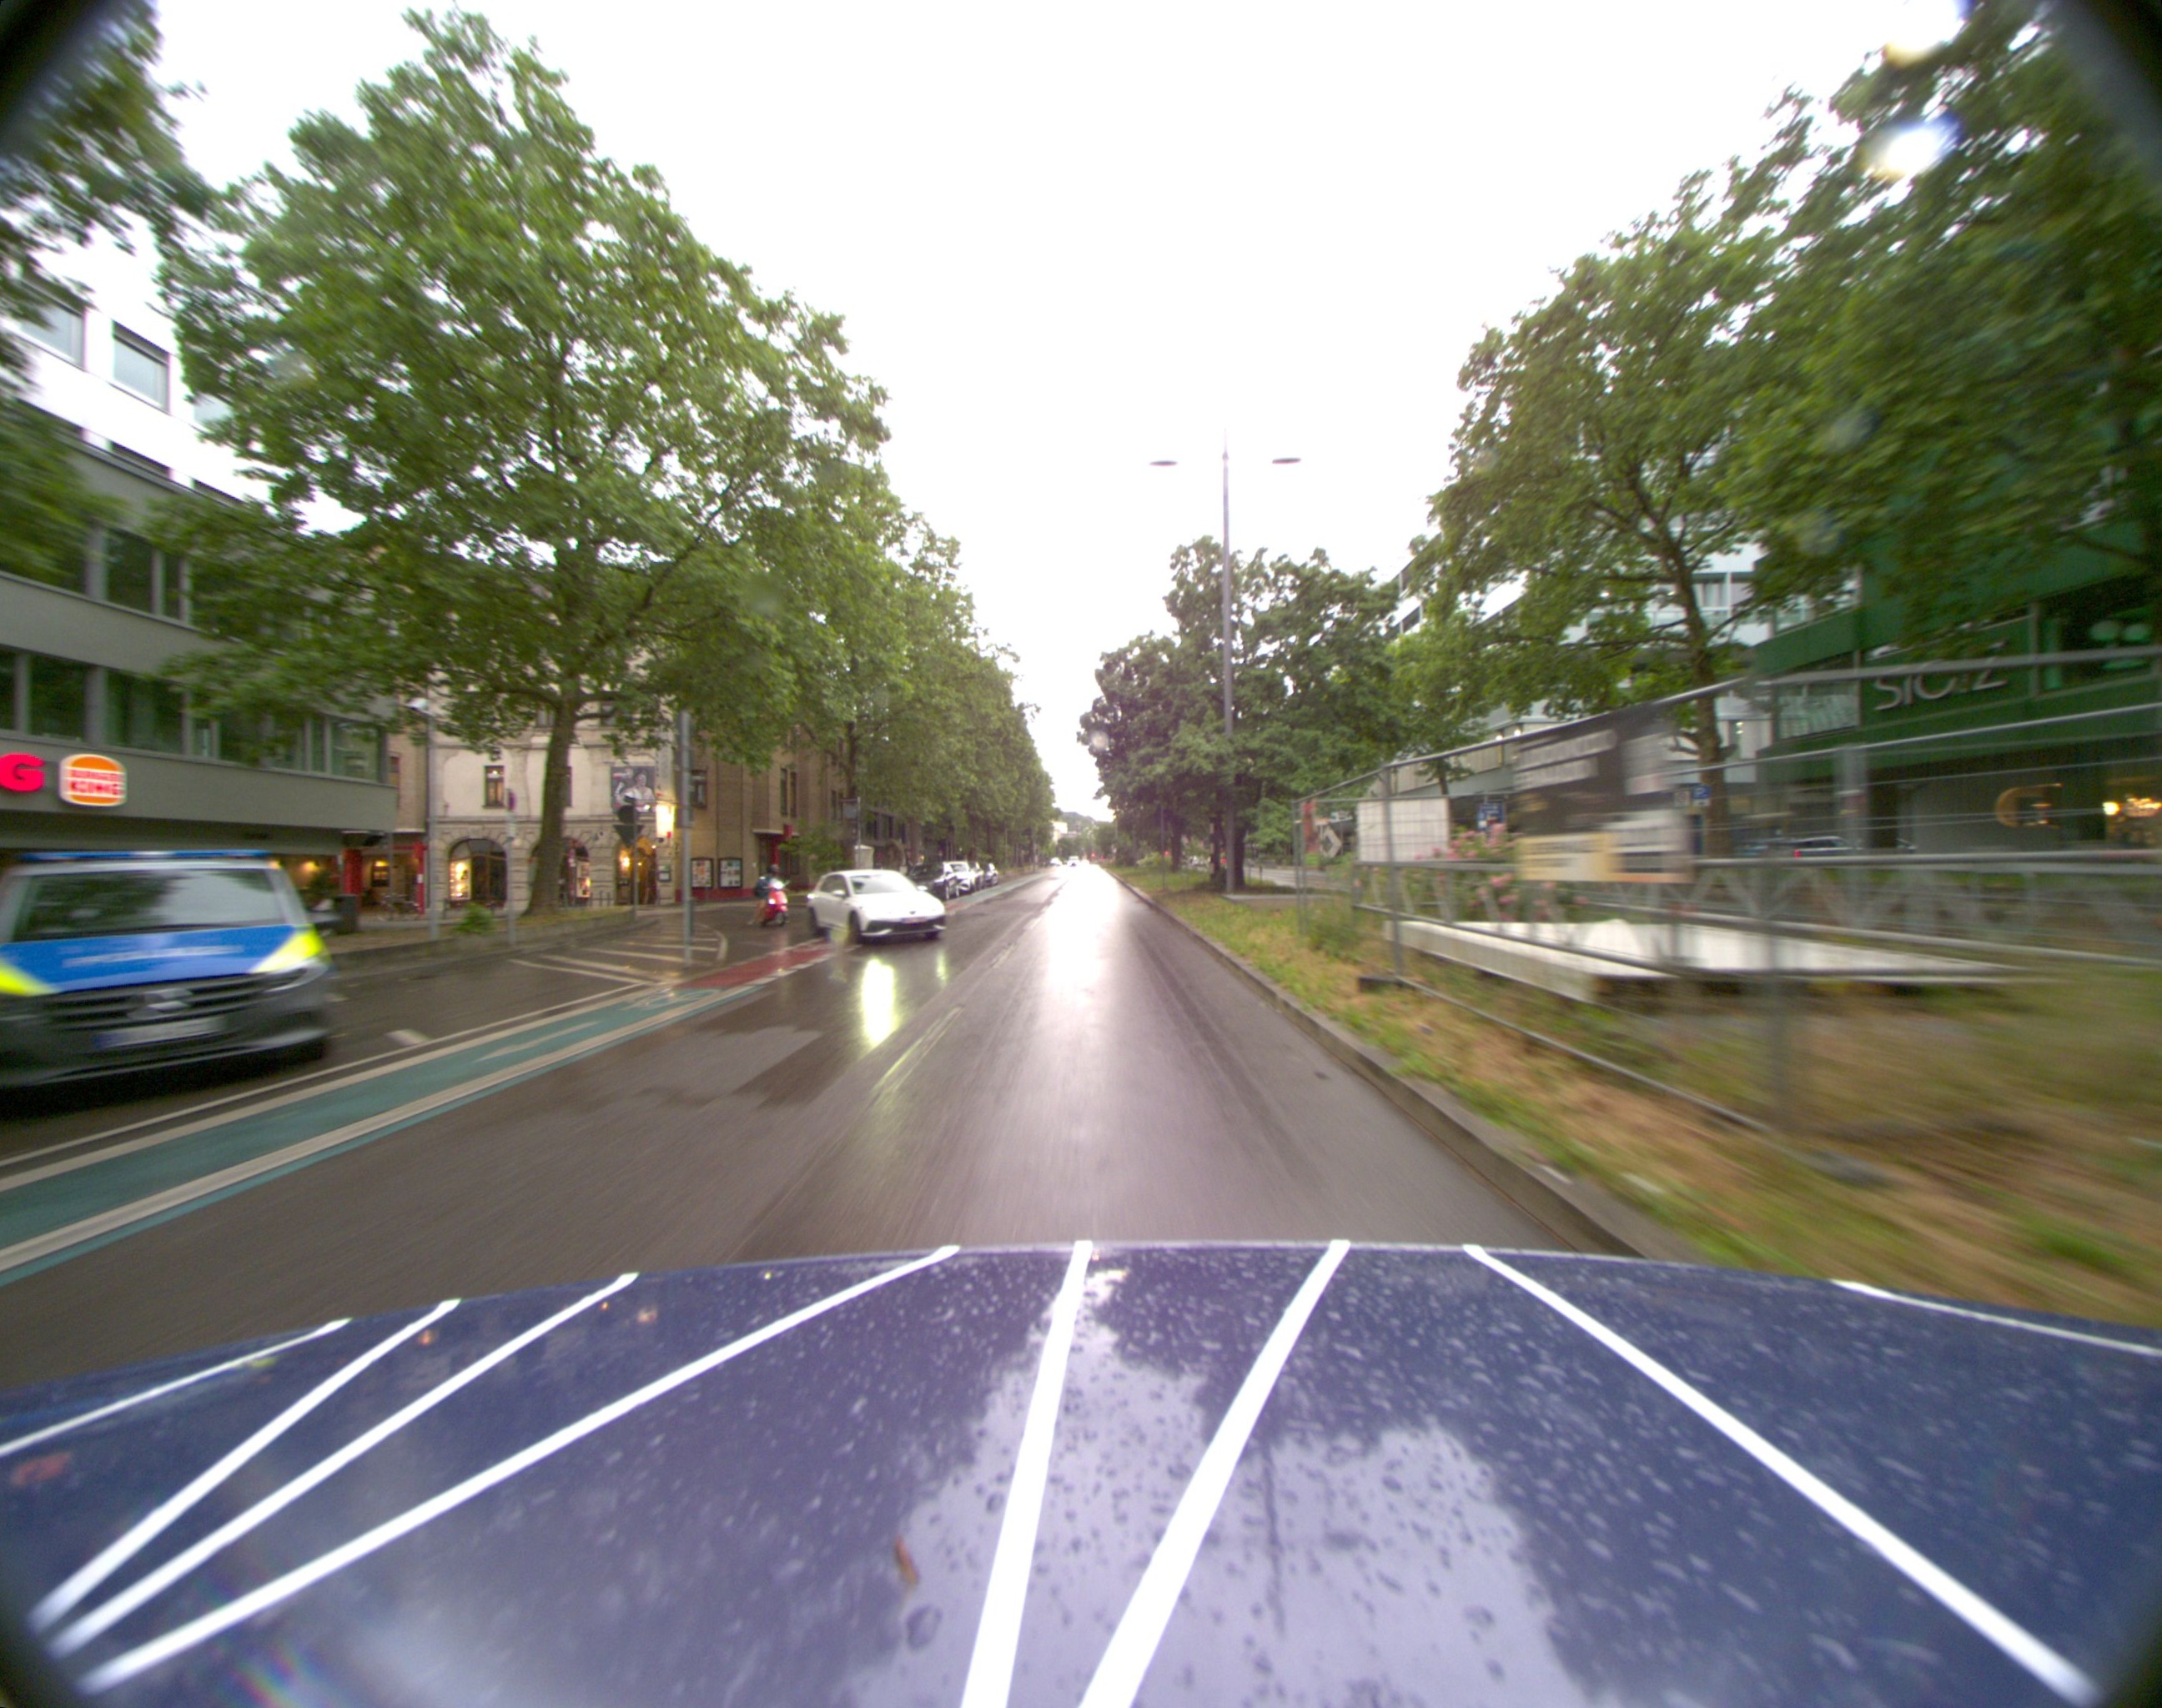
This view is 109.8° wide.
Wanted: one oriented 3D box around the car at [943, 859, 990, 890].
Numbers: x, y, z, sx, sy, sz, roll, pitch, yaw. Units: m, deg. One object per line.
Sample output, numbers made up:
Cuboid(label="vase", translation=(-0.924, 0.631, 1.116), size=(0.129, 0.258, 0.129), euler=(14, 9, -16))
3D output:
Cuboid(label="car", translation=(-6.323, 1.097, 42.571), size=(1.999, 1.580, 4.559), euler=(-2, 0, -1))

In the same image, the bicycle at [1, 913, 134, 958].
Cuboid(label="bicycle", translation=(-23.212, 1.842, 17.461), size=(0.643, 0.814, 1.912), euler=(-1, 0, -8))

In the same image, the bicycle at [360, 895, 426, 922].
Cuboid(label="bicycle", translation=(-25.878, 2.044, 28.581), size=(1.971, 0.932, 0.625), euler=(-2, 0, 5))

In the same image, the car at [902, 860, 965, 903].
Cuboid(label="car", translation=(-6.224, 1.115, 32.498), size=(1.797, 1.593, 4.423), euler=(-2, 0, 0))

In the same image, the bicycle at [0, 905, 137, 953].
Cuboid(label="bicycle", translation=(-22.815, 1.666, 17.091), size=(0.584, 0.890, 2.076), euler=(5, -2, -4))

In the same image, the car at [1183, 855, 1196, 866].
Cuboid(label="car", translation=(18.450, 1.034, 128.905), size=(1.997, 1.791, 4.284), euler=(-1, 0, 6))

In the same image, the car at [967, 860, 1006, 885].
Cuboid(label="car", translation=(-5.951, 1.135, 48.211), size=(1.747, 1.424, 4.586), euler=(-2, 0, 1))

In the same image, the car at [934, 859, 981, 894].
Cuboid(label="car", translation=(-6.027, 1.060, 37.501), size=(1.756, 1.576, 4.409), euler=(-2, 0, -3))

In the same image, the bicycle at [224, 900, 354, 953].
Cuboid(label="bicycle", translation=(-17.884, 1.609, 17.229), size=(0.642, 0.917, 1.915), euler=(16, 0, 6))

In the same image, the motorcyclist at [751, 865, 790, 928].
Cuboid(label="motorcyclist", translation=(-8.479, 1.140, 20.798), size=(0.850, 1.635, 0.870), euler=(-2, 1, -17))

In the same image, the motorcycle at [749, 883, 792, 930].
Cuboid(label="motorcycle", translation=(-8.460, 1.403, 20.799), size=(0.869, 1.136, 2.019), euler=(-2, 0, -17))

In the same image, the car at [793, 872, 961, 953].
Cuboid(label="car", translation=(-4.538, 1.139, 16.429), size=(1.871, 1.436, 4.497), euler=(-2, 0, -38))

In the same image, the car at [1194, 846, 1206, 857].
Cuboid(label="car", translation=(16.447, -0.345, 104.996), size=(1.163, 1.454, 3.561), euler=(-1, 0, 3))

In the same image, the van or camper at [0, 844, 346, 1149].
Cuboid(label="van or camper", translation=(-8.675, 1.008, 7.045), size=(4.933, 1.980, 2.006), euler=(-2, 1, 39))

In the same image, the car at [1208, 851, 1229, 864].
Cuboid(label="car", translation=(15.955, 0.354, 88.328), size=(1.998, 1.483, 4.757), euler=(0, 0, 4))
